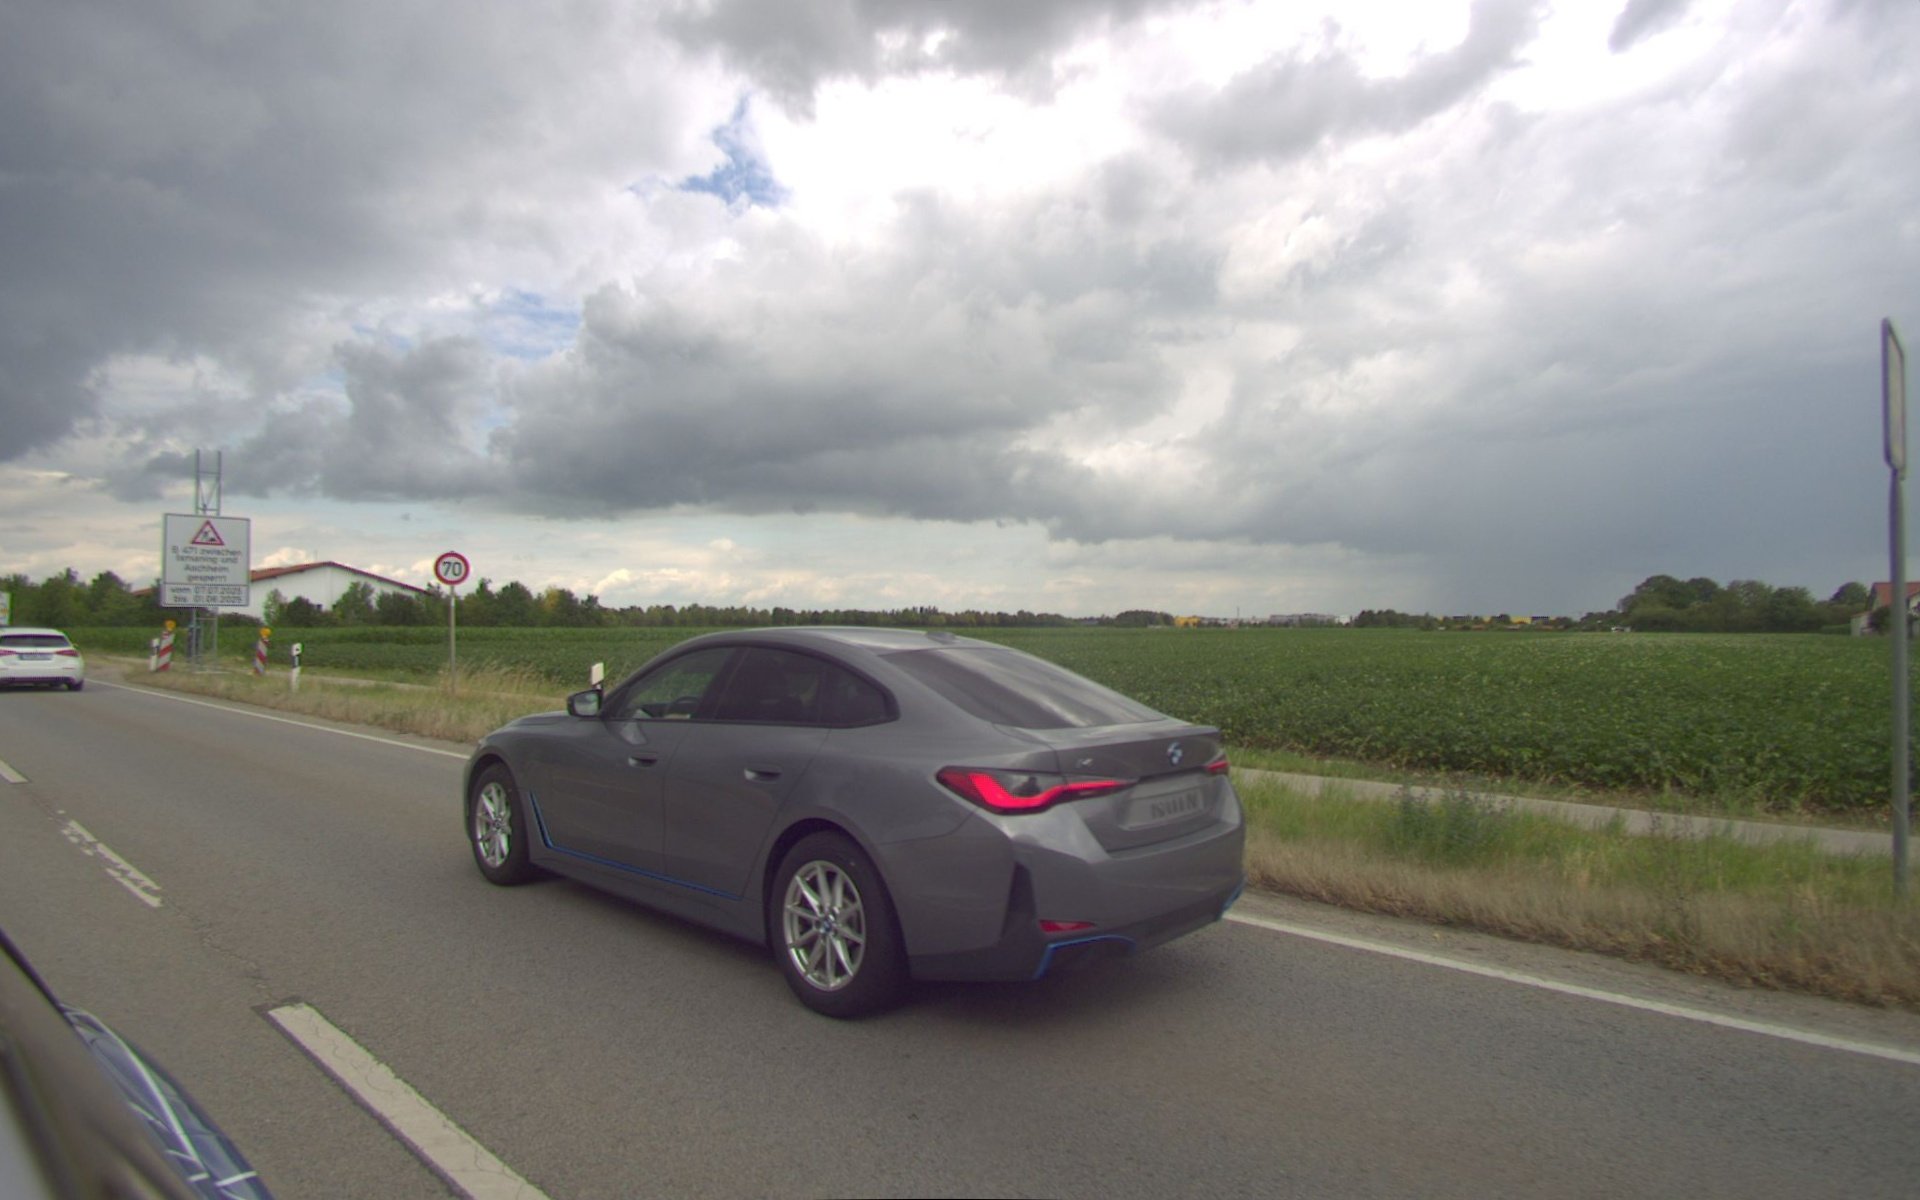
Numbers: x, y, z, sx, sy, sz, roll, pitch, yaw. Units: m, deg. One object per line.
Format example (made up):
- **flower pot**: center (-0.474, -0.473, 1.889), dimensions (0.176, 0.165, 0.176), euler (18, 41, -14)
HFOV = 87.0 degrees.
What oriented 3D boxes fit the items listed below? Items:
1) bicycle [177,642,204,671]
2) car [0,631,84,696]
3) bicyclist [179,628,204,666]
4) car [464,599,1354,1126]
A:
- **bicycle**: center (-32.163, 2.363, 42.301), dimensions (1.794, 1.164, 0.523), euler (-2, -4, 42)
- **car**: center (-21.617, 1.409, 23.197), dimensions (4.098, 1.383, 1.754), euler (-1, -4, 41)
- **bicyclist**: center (-32.121, 1.961, 42.289), dimensions (1.222, 1.596, 0.523), euler (-2, -4, 42)
- **car**: center (-0.580, 0.809, 5.007), dimensions (4.369, 1.475, 1.833), euler (-1, -3, 42)
